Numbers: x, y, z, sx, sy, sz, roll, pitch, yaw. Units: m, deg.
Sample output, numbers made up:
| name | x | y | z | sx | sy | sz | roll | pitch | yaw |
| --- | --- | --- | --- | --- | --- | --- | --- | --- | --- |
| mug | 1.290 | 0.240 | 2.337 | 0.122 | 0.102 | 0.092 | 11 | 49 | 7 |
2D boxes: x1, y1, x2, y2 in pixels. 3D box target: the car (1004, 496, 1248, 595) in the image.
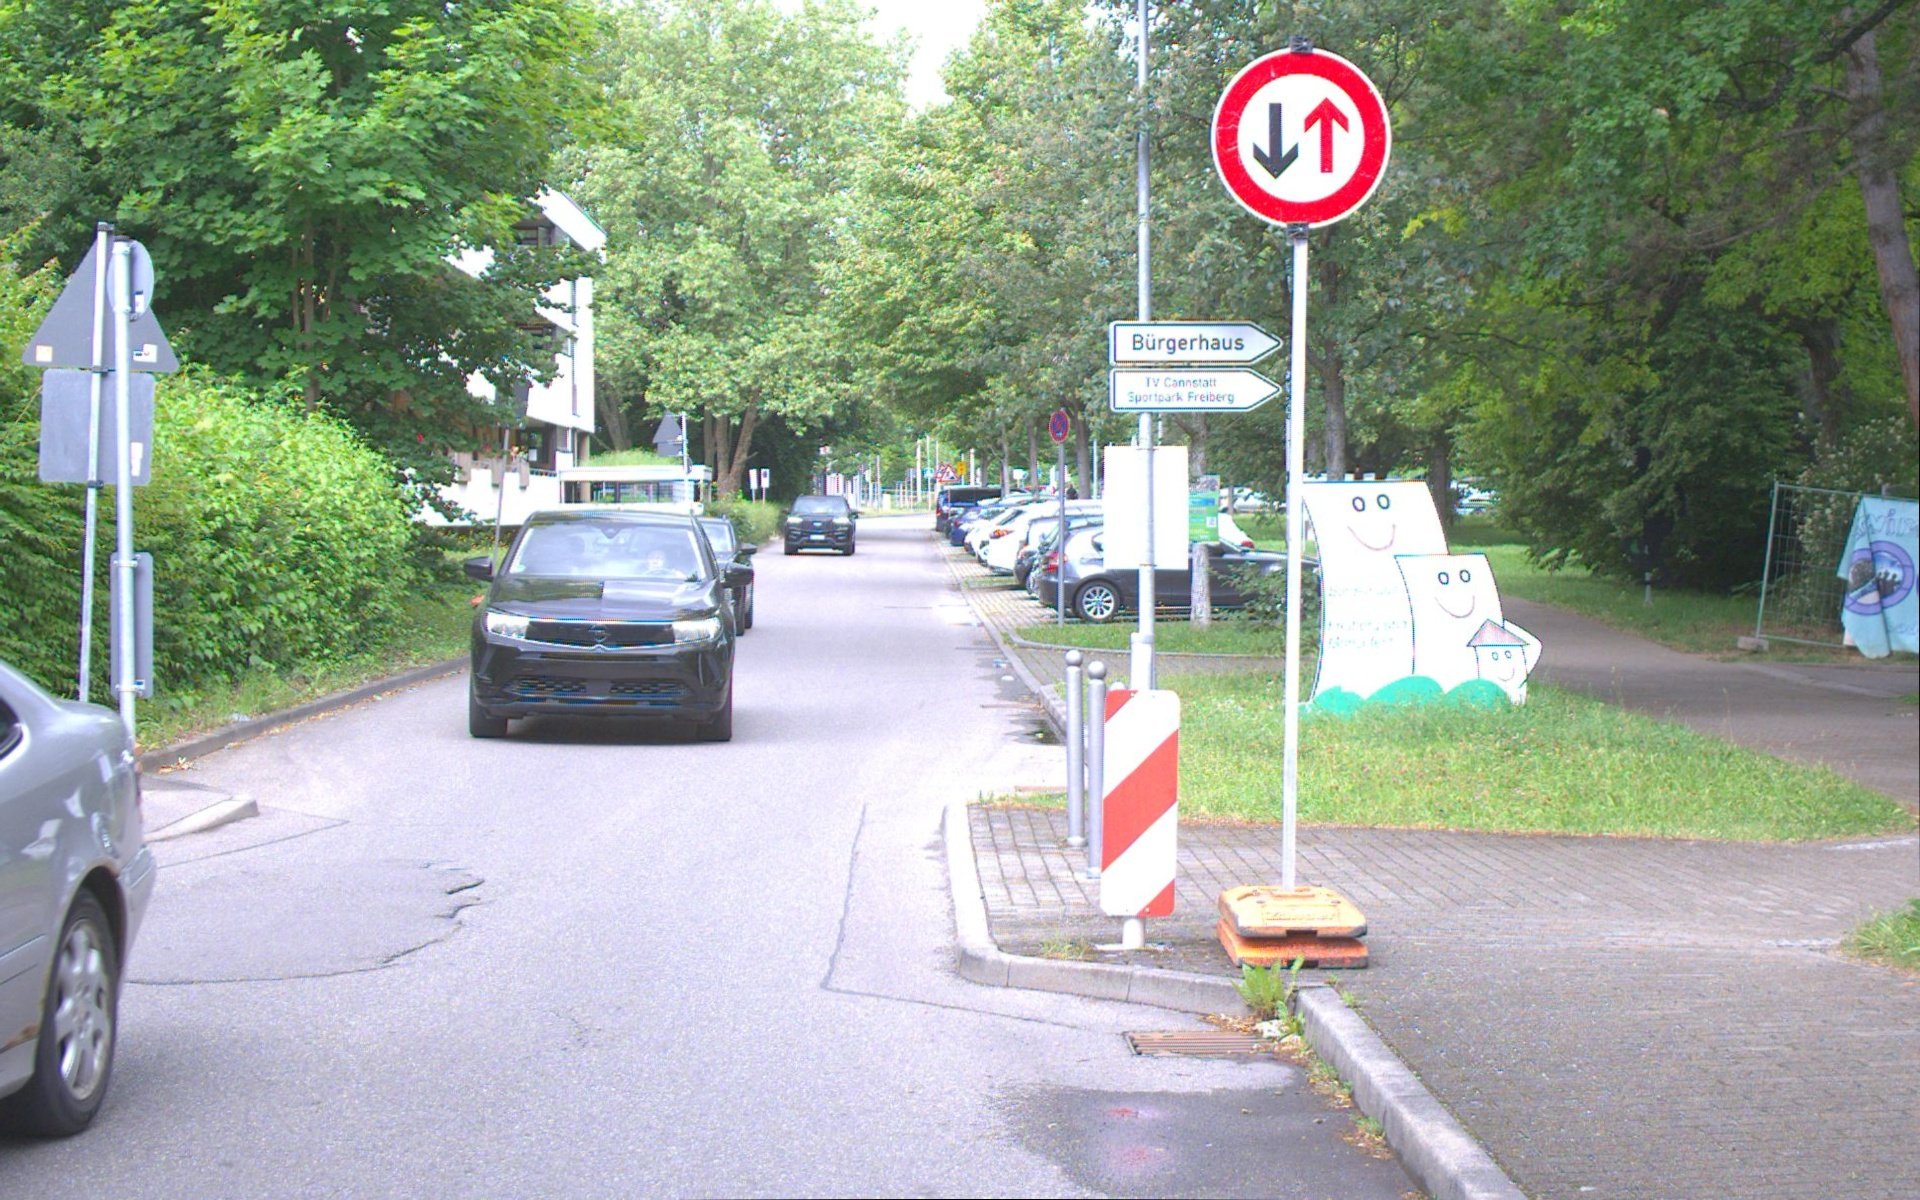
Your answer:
| name | x | y | z | sx | sy | sz | roll | pitch | yaw |
| --- | --- | --- | --- | --- | --- | --- | --- | --- | --- |
| car | 2.936 | -0.984 | 61.291 | 4.062 | 1.483 | 1.823 | -4 | 2 | -4 |

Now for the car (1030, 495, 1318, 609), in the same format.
| name | x | y | z | sx | sy | sz | roll | pitch | yaw |
| --- | --- | --- | --- | --- | --- | --- | --- | --- | --- |
| car | 3.128 | -0.693 | 50.838 | 4.062 | 1.563 | 1.822 | -1 | 0 | -1 |

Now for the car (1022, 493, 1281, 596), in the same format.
| name | x | y | z | sx | sy | sz | roll | pitch | yaw |
| --- | --- | --- | --- | --- | --- | --- | --- | --- | --- |
| car | 3.095 | -0.917 | 56.193 | 4.062 | 1.563 | 1.823 | -1 | 2 | -1 |

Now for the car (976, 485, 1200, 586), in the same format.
| name | x | y | z | sx | sy | sz | roll | pitch | yaw |
| --- | --- | --- | --- | --- | --- | --- | --- | --- | --- |
| car | 2.453 | -1.261 | 66.414 | 4.062 | 1.681 | 1.823 | -4 | 2 | -4 |

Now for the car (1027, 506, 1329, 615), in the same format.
| name | x | y | z | sx | sy | sz | roll | pitch | yaw |
| --- | --- | --- | --- | --- | --- | --- | --- | --- | --- |
| car | 3.048 | -0.549 | 48.722 | 4.062 | 1.429 | 2.000 | -1 | 0 | -1 |

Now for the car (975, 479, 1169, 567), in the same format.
| name | x | y | z | sx | sy | sz | roll | pitch | yaw |
| --- | --- | --- | --- | --- | --- | --- | --- | --- | --- |
| car | 2.477 | -1.722 | 76.593 | 4.062 | 1.681 | 1.823 | -4 | 2 | -4 |

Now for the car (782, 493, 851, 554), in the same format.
| name | x | y | z | sx | sy | sz | roll | pitch | yaw |
| --- | --- | --- | --- | --- | --- | --- | --- | --- | --- |
| car | -4.209 | -2.260 | 101.199 | 1.968 | 1.741 | 4.339 | 0 | 1 | -2 |

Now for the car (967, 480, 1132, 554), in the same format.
| name | x | y | z | sx | sy | sz | roll | pitch | yaw |
| --- | --- | --- | --- | --- | --- | --- | --- | --- | --- |
| car | 2.334 | -2.170 | 89.896 | 4.062 | 1.681 | 1.823 | -4 | 2 | -4 |

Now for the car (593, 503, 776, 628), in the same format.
| name | x | y | z | sx | sy | sz | roll | pitch | yaw |
| --- | --- | --- | --- | --- | --- | --- | --- | --- | --- |
| car | -3.637 | -0.496 | 46.078 | 1.803 | 1.586 | 4.296 | 0 | 1 | 4 |

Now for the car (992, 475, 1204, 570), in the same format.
| name | x | y | z | sx | sy | sz | roll | pitch | yaw |
| --- | --- | --- | --- | --- | --- | --- | --- | --- | --- |
| car | 2.803 | -1.586 | 70.297 | 4.062 | 1.681 | 1.823 | -4 | 2 | -4 |

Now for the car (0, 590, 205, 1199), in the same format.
| name | x | y | z | sx | sy | sz | roll | pitch | yaw |
| --- | --- | --- | --- | --- | --- | --- | --- | --- | --- |
| car | -3.025 | 0.676 | 6.963 | 1.781 | 1.302 | 4.296 | 0 | 1 | 4 |

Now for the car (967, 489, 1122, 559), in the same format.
| name | x | y | z | sx | sy | sz | roll | pitch | yaw |
| --- | --- | --- | --- | --- | --- | --- | --- | --- | --- |
| car | 2.342 | -2.115 | 95.776 | 4.062 | 1.681 | 1.823 | -4 | 2 | -4 |

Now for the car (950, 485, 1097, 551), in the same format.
| name | x | y | z | sx | sy | sz | roll | pitch | yaw |
| --- | --- | --- | --- | --- | --- | --- | --- | --- | --- |
| car | 1.843 | -2.399 | 100.782 | 4.062 | 1.681 | 1.823 | -4 | 2 | -4 |

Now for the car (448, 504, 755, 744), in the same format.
| name | x | y | z | sx | sy | sz | roll | pitch | yaw |
| --- | --- | --- | --- | --- | --- | --- | --- | --- | --- |
| car | -2.522 | 0.106 | 25.084 | 1.803 | 1.586 | 4.296 | 0 | 1 | 0 |
